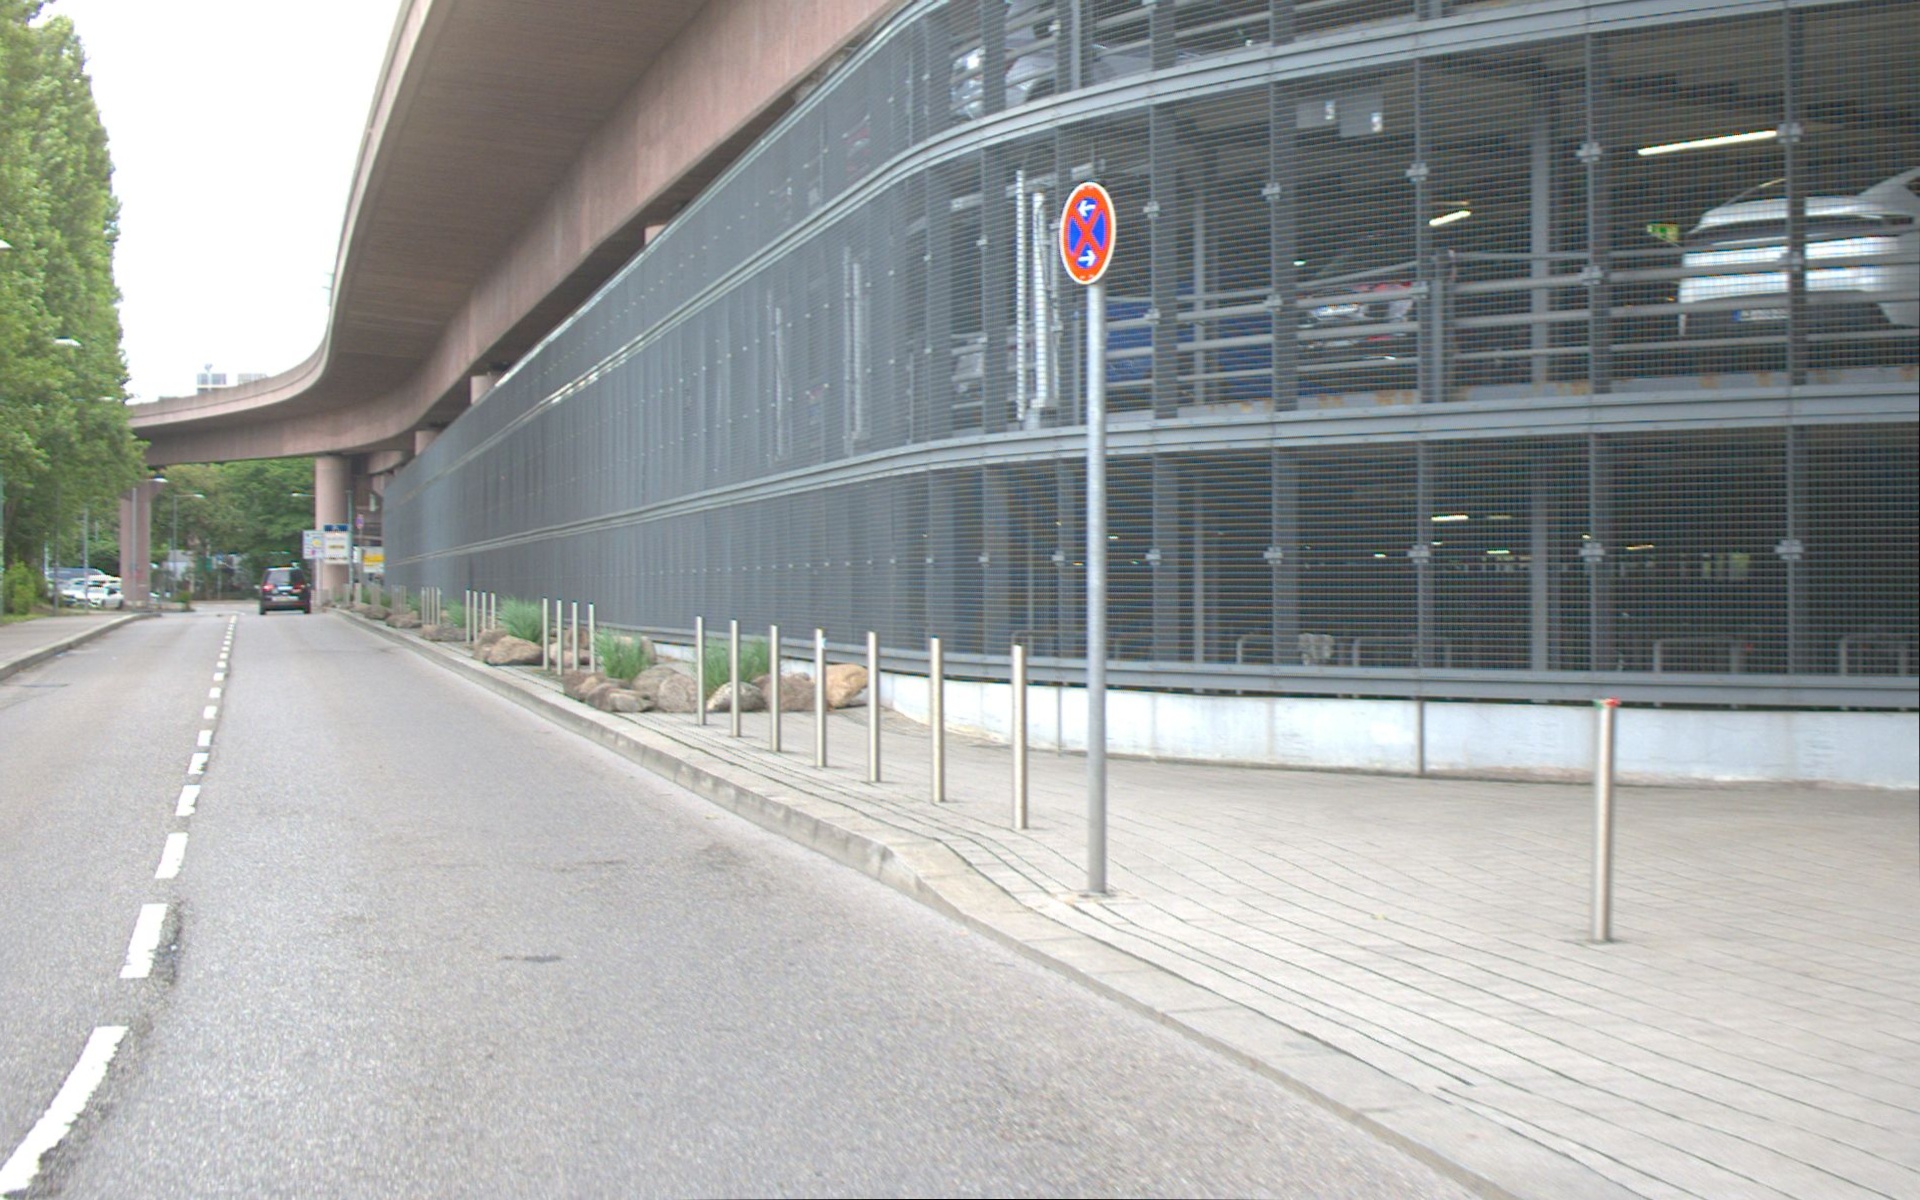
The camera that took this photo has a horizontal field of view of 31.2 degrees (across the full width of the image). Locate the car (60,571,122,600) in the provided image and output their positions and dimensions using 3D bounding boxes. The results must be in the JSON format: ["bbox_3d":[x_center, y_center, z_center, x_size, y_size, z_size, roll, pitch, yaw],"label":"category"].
[{"bbox_3d":[-55.522,-0.910,219.659,1.722,1.711,3.667,1,2,30],"label":"car"}]

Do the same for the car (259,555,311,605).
[{"bbox_3d":[-24.924,-0.747,126.916,1.839,1.705,3.707,-1,2,-11],"label":"car"}]

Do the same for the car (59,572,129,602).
[{"bbox_3d":[-54.381,-0.808,215.976,1.882,1.711,4.147,1,2,30],"label":"car"}]
